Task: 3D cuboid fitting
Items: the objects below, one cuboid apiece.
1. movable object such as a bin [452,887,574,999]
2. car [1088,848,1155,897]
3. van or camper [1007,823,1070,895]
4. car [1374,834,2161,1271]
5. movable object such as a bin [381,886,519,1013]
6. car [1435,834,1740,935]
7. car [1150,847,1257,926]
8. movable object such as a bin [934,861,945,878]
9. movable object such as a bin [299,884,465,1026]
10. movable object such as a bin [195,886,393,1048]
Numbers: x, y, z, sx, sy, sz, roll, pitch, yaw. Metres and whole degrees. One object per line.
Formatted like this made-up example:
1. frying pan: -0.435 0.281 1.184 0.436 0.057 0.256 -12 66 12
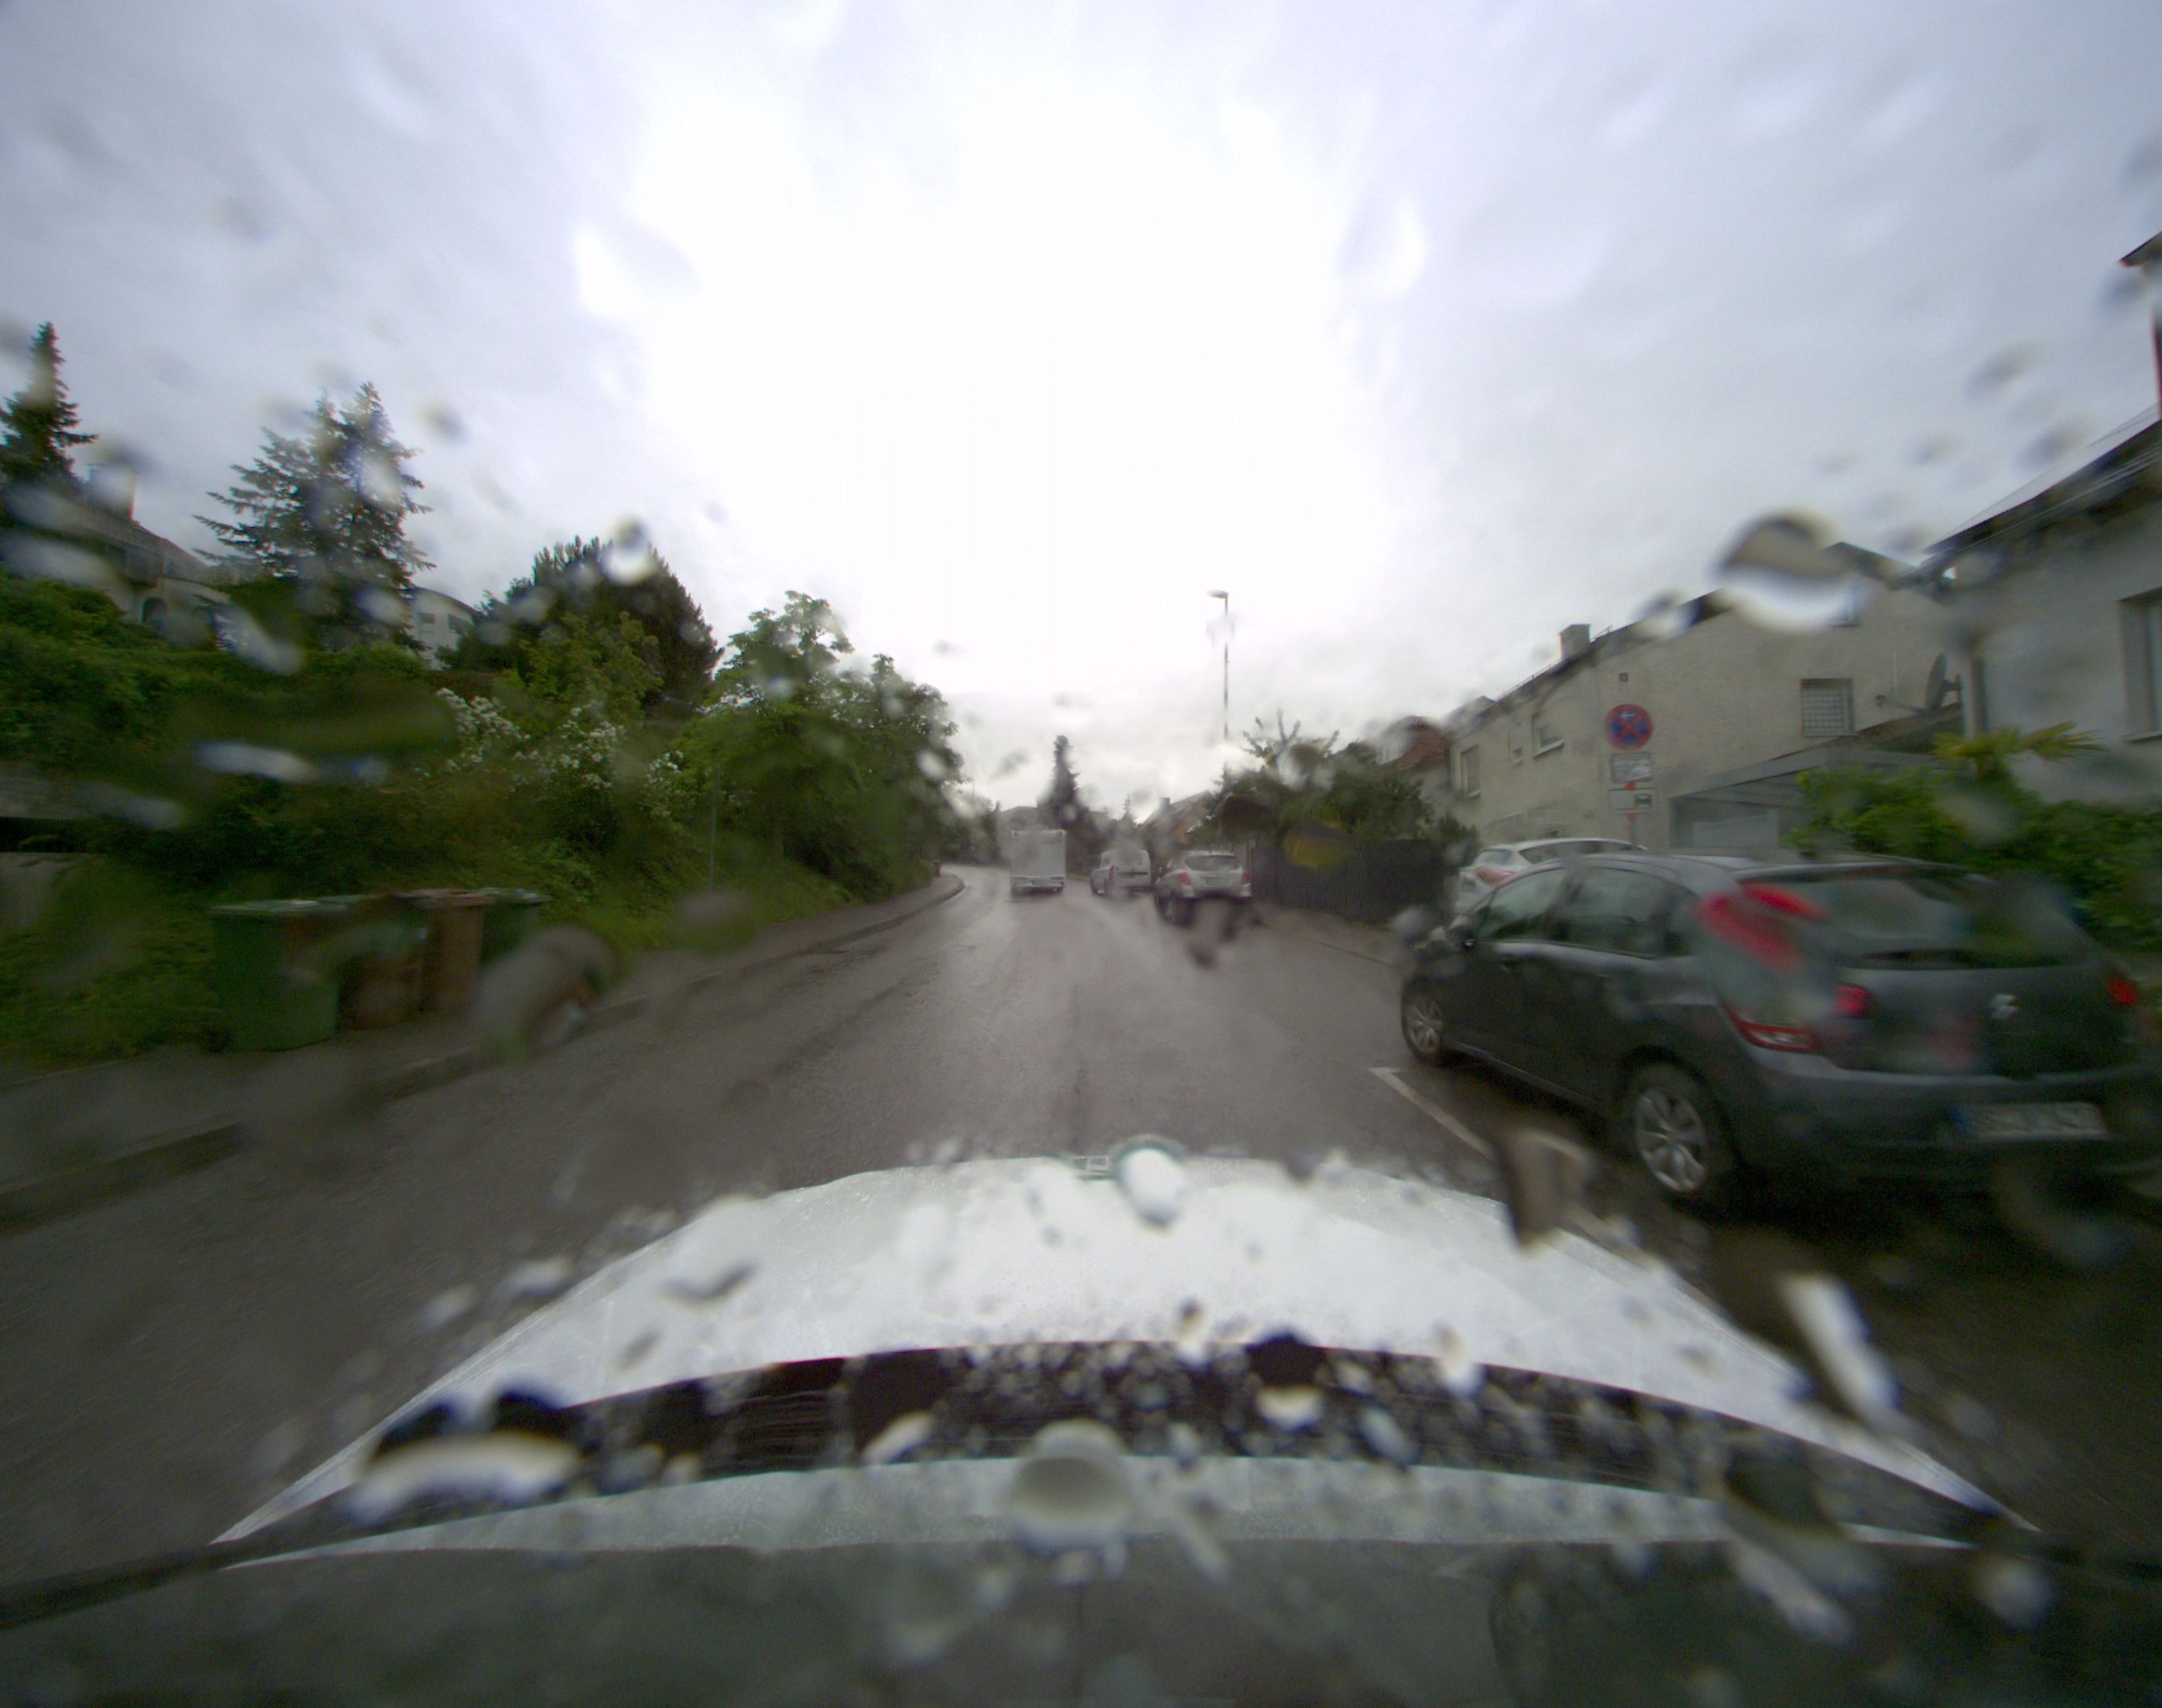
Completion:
1. movable object such as a bin: -5.815 0.889 8.376 0.767 1.068 0.690 -1 -1 -5
2. car: 1.528 0.734 32.639 1.778 1.804 4.693 0 -1 -8
3. van or camper: -1.978 0.247 35.943 2.536 2.925 5.936 0 -1 -6
4. car: 3.251 0.711 4.763 1.654 1.467 3.762 -2 -1 0
5. movable object such as a bin: -5.889 0.870 7.644 0.767 1.096 0.670 -1 -1 -5
6. car: 8.448 0.517 13.900 3.971 1.590 1.936 0 -2 2
7. car: 2.828 0.725 19.701 1.799 1.627 4.285 -2 -1 -2
8. movable object such as a bin: -9.621 1.075 55.410 0.694 1.090 0.801 2 3 -7
9. movable object such as a bin: -5.886 0.823 6.904 0.767 1.096 0.737 -1 -1 -5
10. movable object such as a bin: -5.885 0.812 6.138 0.767 1.096 0.737 -1 -1 -5
